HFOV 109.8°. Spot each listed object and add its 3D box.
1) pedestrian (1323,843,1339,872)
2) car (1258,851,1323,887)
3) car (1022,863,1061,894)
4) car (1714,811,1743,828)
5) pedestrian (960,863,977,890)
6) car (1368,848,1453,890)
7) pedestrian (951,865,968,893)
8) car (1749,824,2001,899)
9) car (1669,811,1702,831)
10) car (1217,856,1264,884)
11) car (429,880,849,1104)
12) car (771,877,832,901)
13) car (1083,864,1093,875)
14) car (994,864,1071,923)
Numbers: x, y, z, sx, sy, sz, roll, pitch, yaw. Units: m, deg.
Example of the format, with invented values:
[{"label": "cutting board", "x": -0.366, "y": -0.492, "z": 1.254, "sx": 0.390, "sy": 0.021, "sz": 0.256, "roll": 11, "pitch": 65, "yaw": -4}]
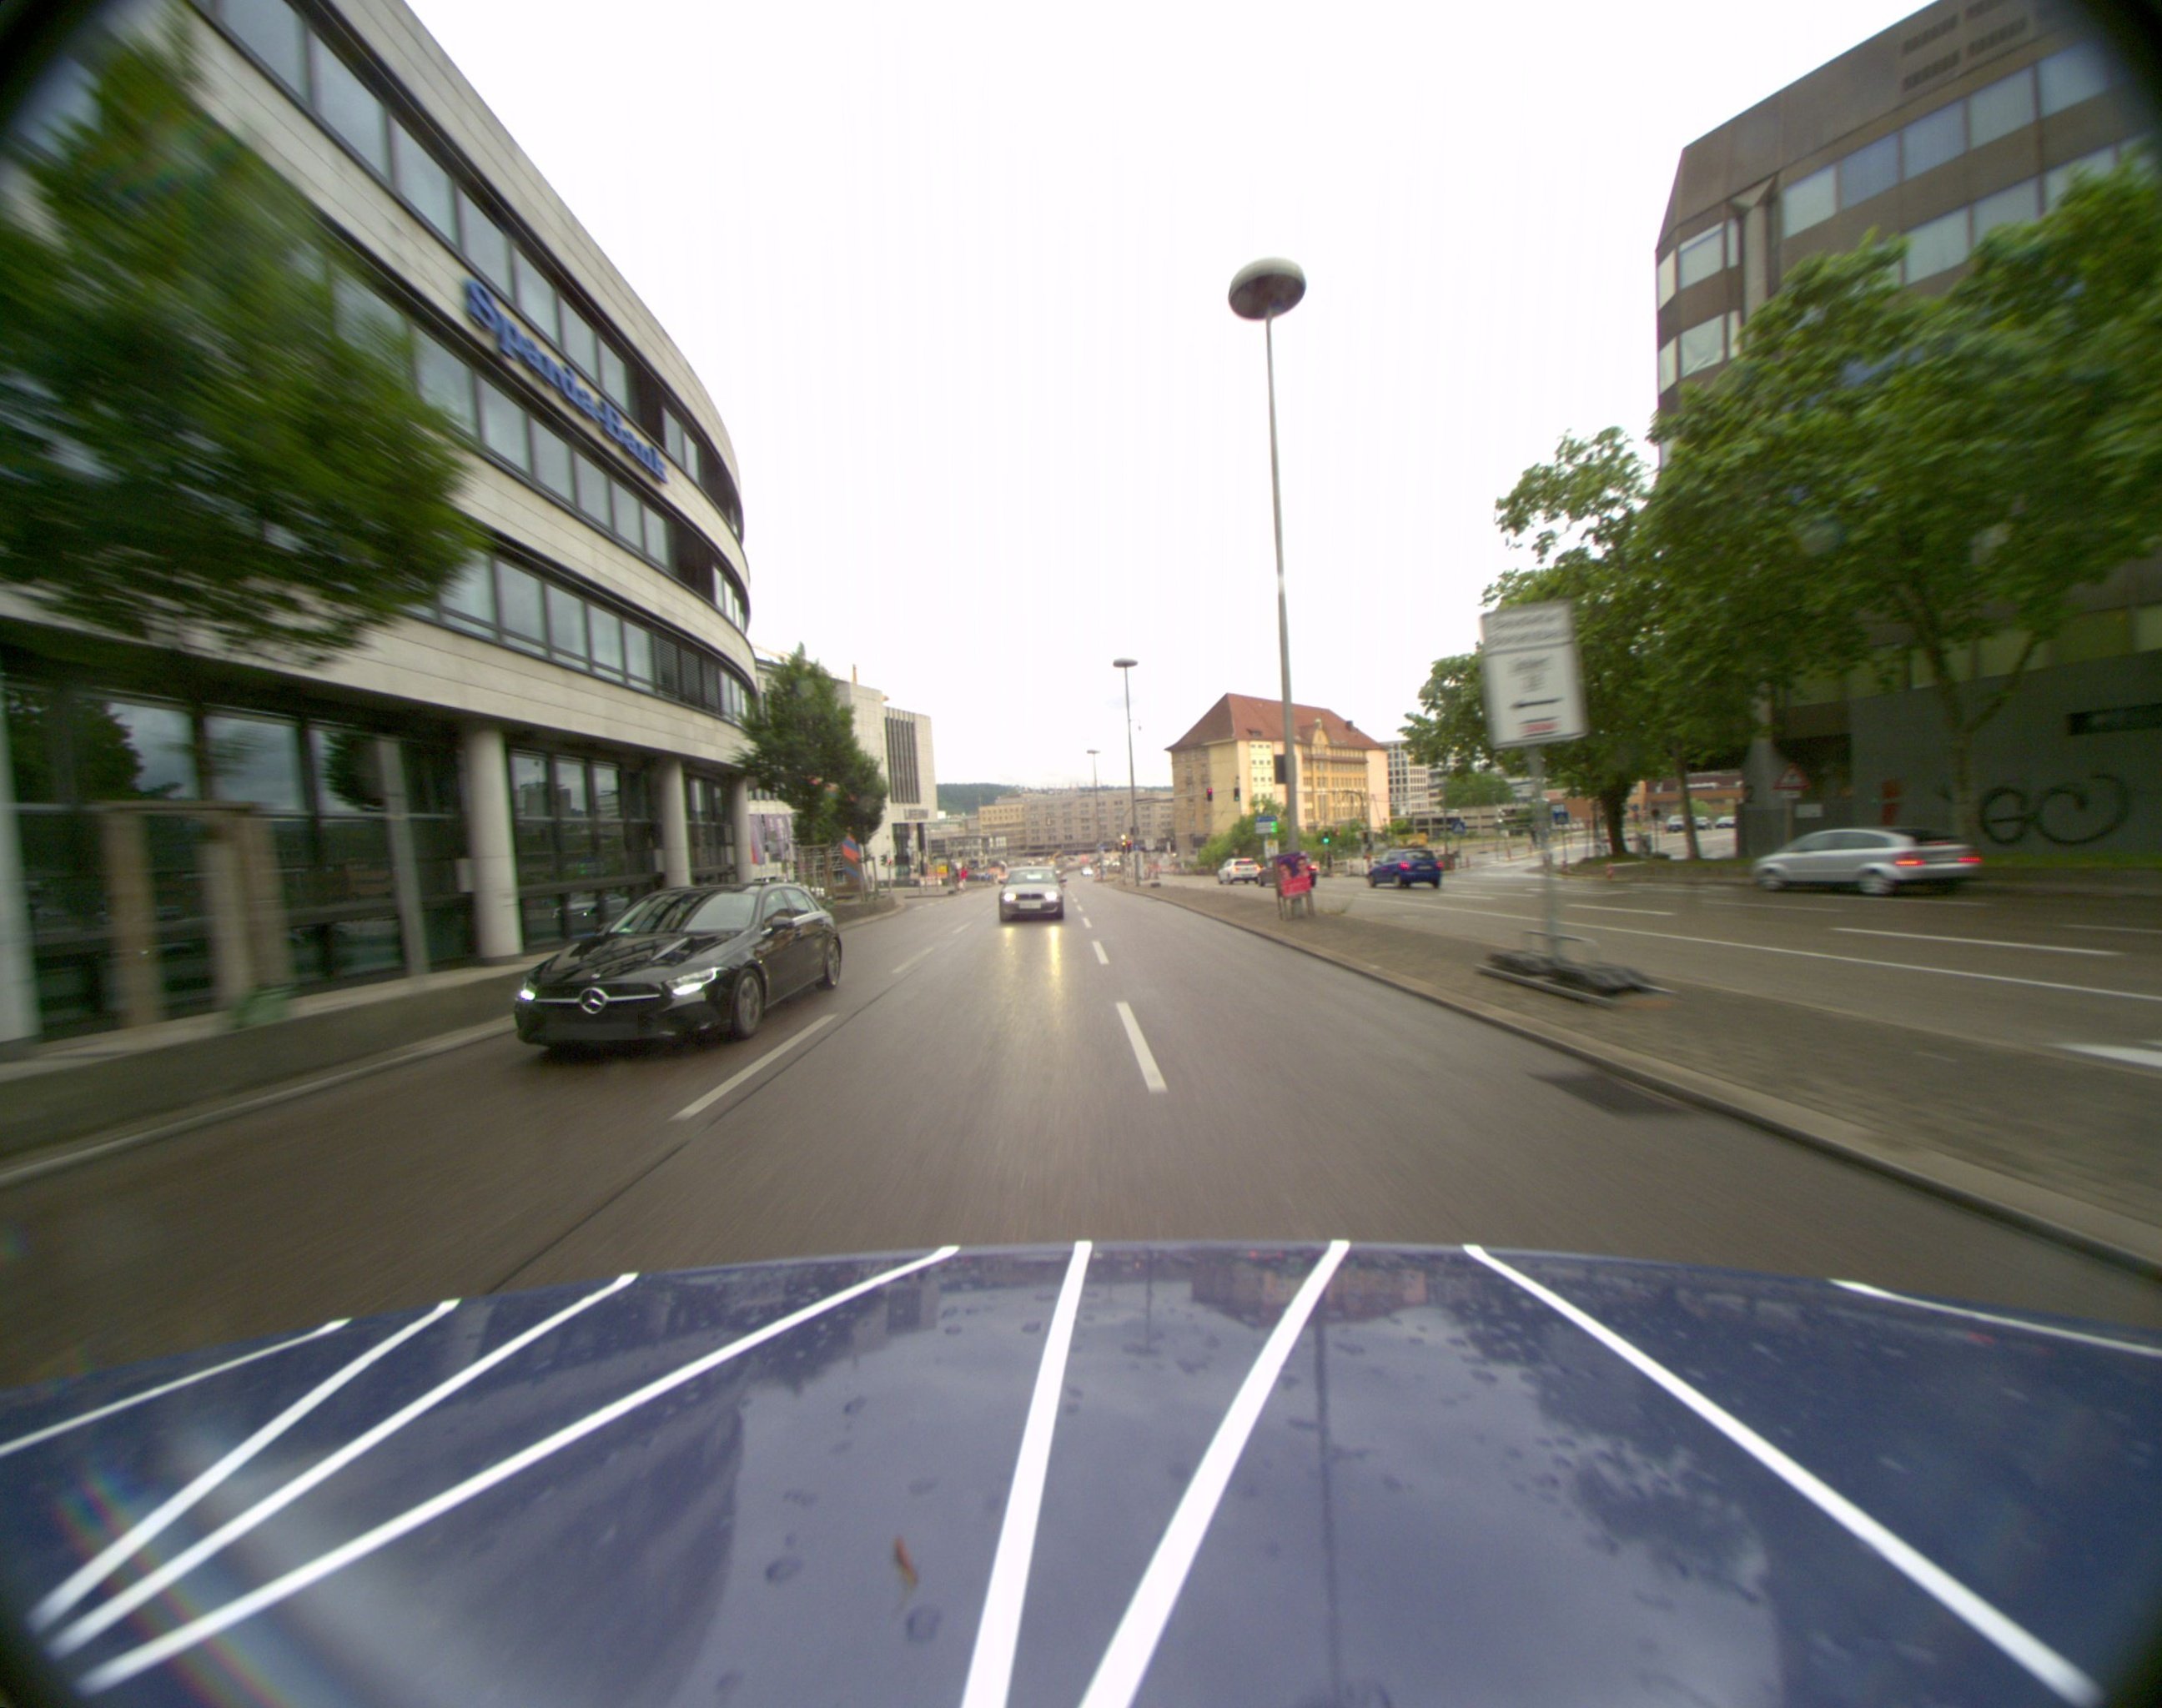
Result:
[{"label": "pedestrian", "x": 17.351, "y": 0.262, "z": 52.682, "sx": 0.812, "sy": 2.002, "sz": 0.662, "roll": -1, "pitch": 0, "yaw": -32}, {"label": "car", "x": 9.552, "y": 0.665, "z": 34.914, "sx": 1.799, "sy": 1.477, "sz": 3.864, "roll": -2, "pitch": -1, "yaw": -2}, {"label": "car", "x": -1.954, "y": 1.205, "z": 38.750, "sx": 1.863, "sy": 1.449, "sz": 4.204, "roll": -1, "pitch": 0, "yaw": -1}, {"label": "car", "x": 79.545, "y": -4.240, "z": 93.315, "sx": 4.007, "sy": 2.002, "sz": 1.995, "roll": -3, "pitch": 1, "yaw": -40}, {"label": "pedestrian", "x": -8.098, "y": 1.618, "z": 54.807, "sx": 0.765, "sy": 1.936, "sz": 0.994, "roll": -2, "pitch": 1, "yaw": 17}, {"label": "car", "x": 12.736, "y": 0.557, "z": 29.548, "sx": 1.798, "sy": 1.477, "sz": 3.438, "roll": -2, "pitch": -1, "yaw": 1}, {"label": "pedestrian", "x": -8.591, "y": 1.774, "z": 53.638, "sx": 0.992, "sy": 1.936, "sz": 0.766, "roll": -2, "pitch": 1, "yaw": 1}, {"label": "car", "x": 18.097, "y": 0.177, "z": 17.607, "sx": 1.799, "sy": 1.477, "sz": 3.764, "roll": -2, "pitch": -1, "yaw": -2}, {"label": "car", "x": 64.408, "y": -3.520, "z": 80.954, "sx": 4.007, "sy": 2.002, "sz": 1.995, "roll": -3, "pitch": 1, "yaw": -40}, {"label": "car", "x": 9.175, "y": 0.874, "z": 43.993, "sx": 1.799, "sy": 1.477, "sz": 3.863, "roll": -3, "pitch": 0, "yaw": -2}, {"label": "car", "x": -3.924, "y": 1.095, "z": 7.764, "sx": 1.877, "sy": 1.428, "sz": 4.204, "roll": -3, "pitch": 0, "yaw": -2}, {"label": "car", "x": -21.523, "y": 2.667, "z": 58.690, "sx": 3.998, "sy": 1.610, "sz": 1.843, "roll": -2, "pitch": 1, "yaw": -3}, {"label": "car", "x": 1.359, "y": 2.919, "z": 146.544, "sx": 1.998, "sy": 2.002, "sz": 3.999, "roll": -2, "pitch": 1, "yaw": 1}, {"label": "car", "x": -1.267, "y": 1.037, "z": 21.489, "sx": 1.863, "sy": 1.428, "sz": 4.205, "roll": -1, "pitch": 0, "yaw": 0}]
